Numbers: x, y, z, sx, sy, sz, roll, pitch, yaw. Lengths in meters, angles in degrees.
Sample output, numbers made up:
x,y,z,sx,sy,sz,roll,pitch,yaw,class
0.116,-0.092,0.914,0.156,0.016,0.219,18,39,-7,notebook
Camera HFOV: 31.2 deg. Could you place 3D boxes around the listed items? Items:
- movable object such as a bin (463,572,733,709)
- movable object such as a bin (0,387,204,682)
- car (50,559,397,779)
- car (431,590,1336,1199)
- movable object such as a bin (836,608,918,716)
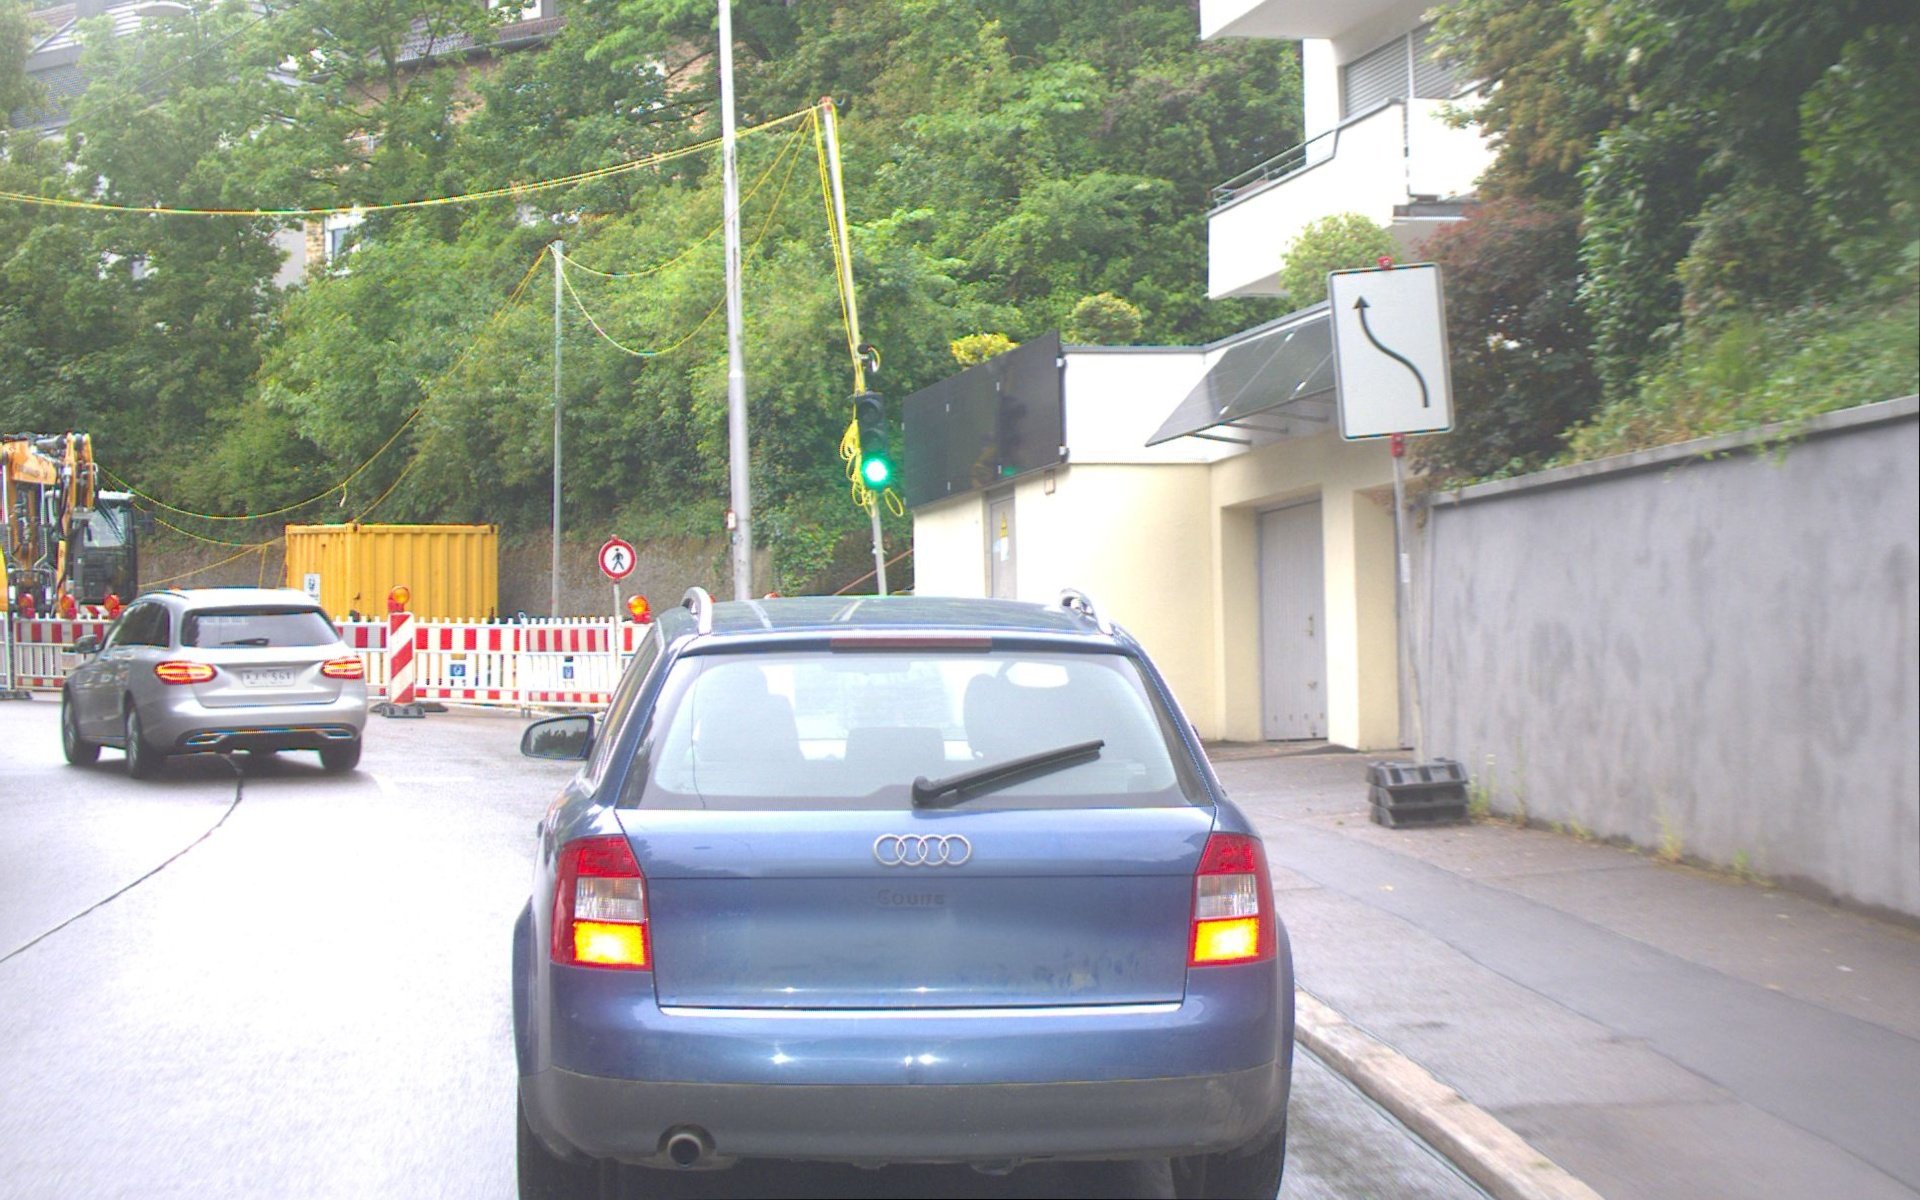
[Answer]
x,y,z,sx,sy,sz,roll,pitch,yaw,class
-4.396,0.444,41.271,1.993,1.514,4.001,0,1,-26,movable object such as a bin
-13.411,-0.955,50.458,2.819,4.000,7.328,-1,1,-26,movable object such as a bin
-6.082,0.488,28.017,1.926,1.612,4.321,-1,1,-23,car
-0.220,0.713,8.803,1.785,1.437,3.964,-1,0,-2,car
-0.817,0.602,33.838,0.719,1.028,0.592,-1,0,-8,movable object such as a bin
